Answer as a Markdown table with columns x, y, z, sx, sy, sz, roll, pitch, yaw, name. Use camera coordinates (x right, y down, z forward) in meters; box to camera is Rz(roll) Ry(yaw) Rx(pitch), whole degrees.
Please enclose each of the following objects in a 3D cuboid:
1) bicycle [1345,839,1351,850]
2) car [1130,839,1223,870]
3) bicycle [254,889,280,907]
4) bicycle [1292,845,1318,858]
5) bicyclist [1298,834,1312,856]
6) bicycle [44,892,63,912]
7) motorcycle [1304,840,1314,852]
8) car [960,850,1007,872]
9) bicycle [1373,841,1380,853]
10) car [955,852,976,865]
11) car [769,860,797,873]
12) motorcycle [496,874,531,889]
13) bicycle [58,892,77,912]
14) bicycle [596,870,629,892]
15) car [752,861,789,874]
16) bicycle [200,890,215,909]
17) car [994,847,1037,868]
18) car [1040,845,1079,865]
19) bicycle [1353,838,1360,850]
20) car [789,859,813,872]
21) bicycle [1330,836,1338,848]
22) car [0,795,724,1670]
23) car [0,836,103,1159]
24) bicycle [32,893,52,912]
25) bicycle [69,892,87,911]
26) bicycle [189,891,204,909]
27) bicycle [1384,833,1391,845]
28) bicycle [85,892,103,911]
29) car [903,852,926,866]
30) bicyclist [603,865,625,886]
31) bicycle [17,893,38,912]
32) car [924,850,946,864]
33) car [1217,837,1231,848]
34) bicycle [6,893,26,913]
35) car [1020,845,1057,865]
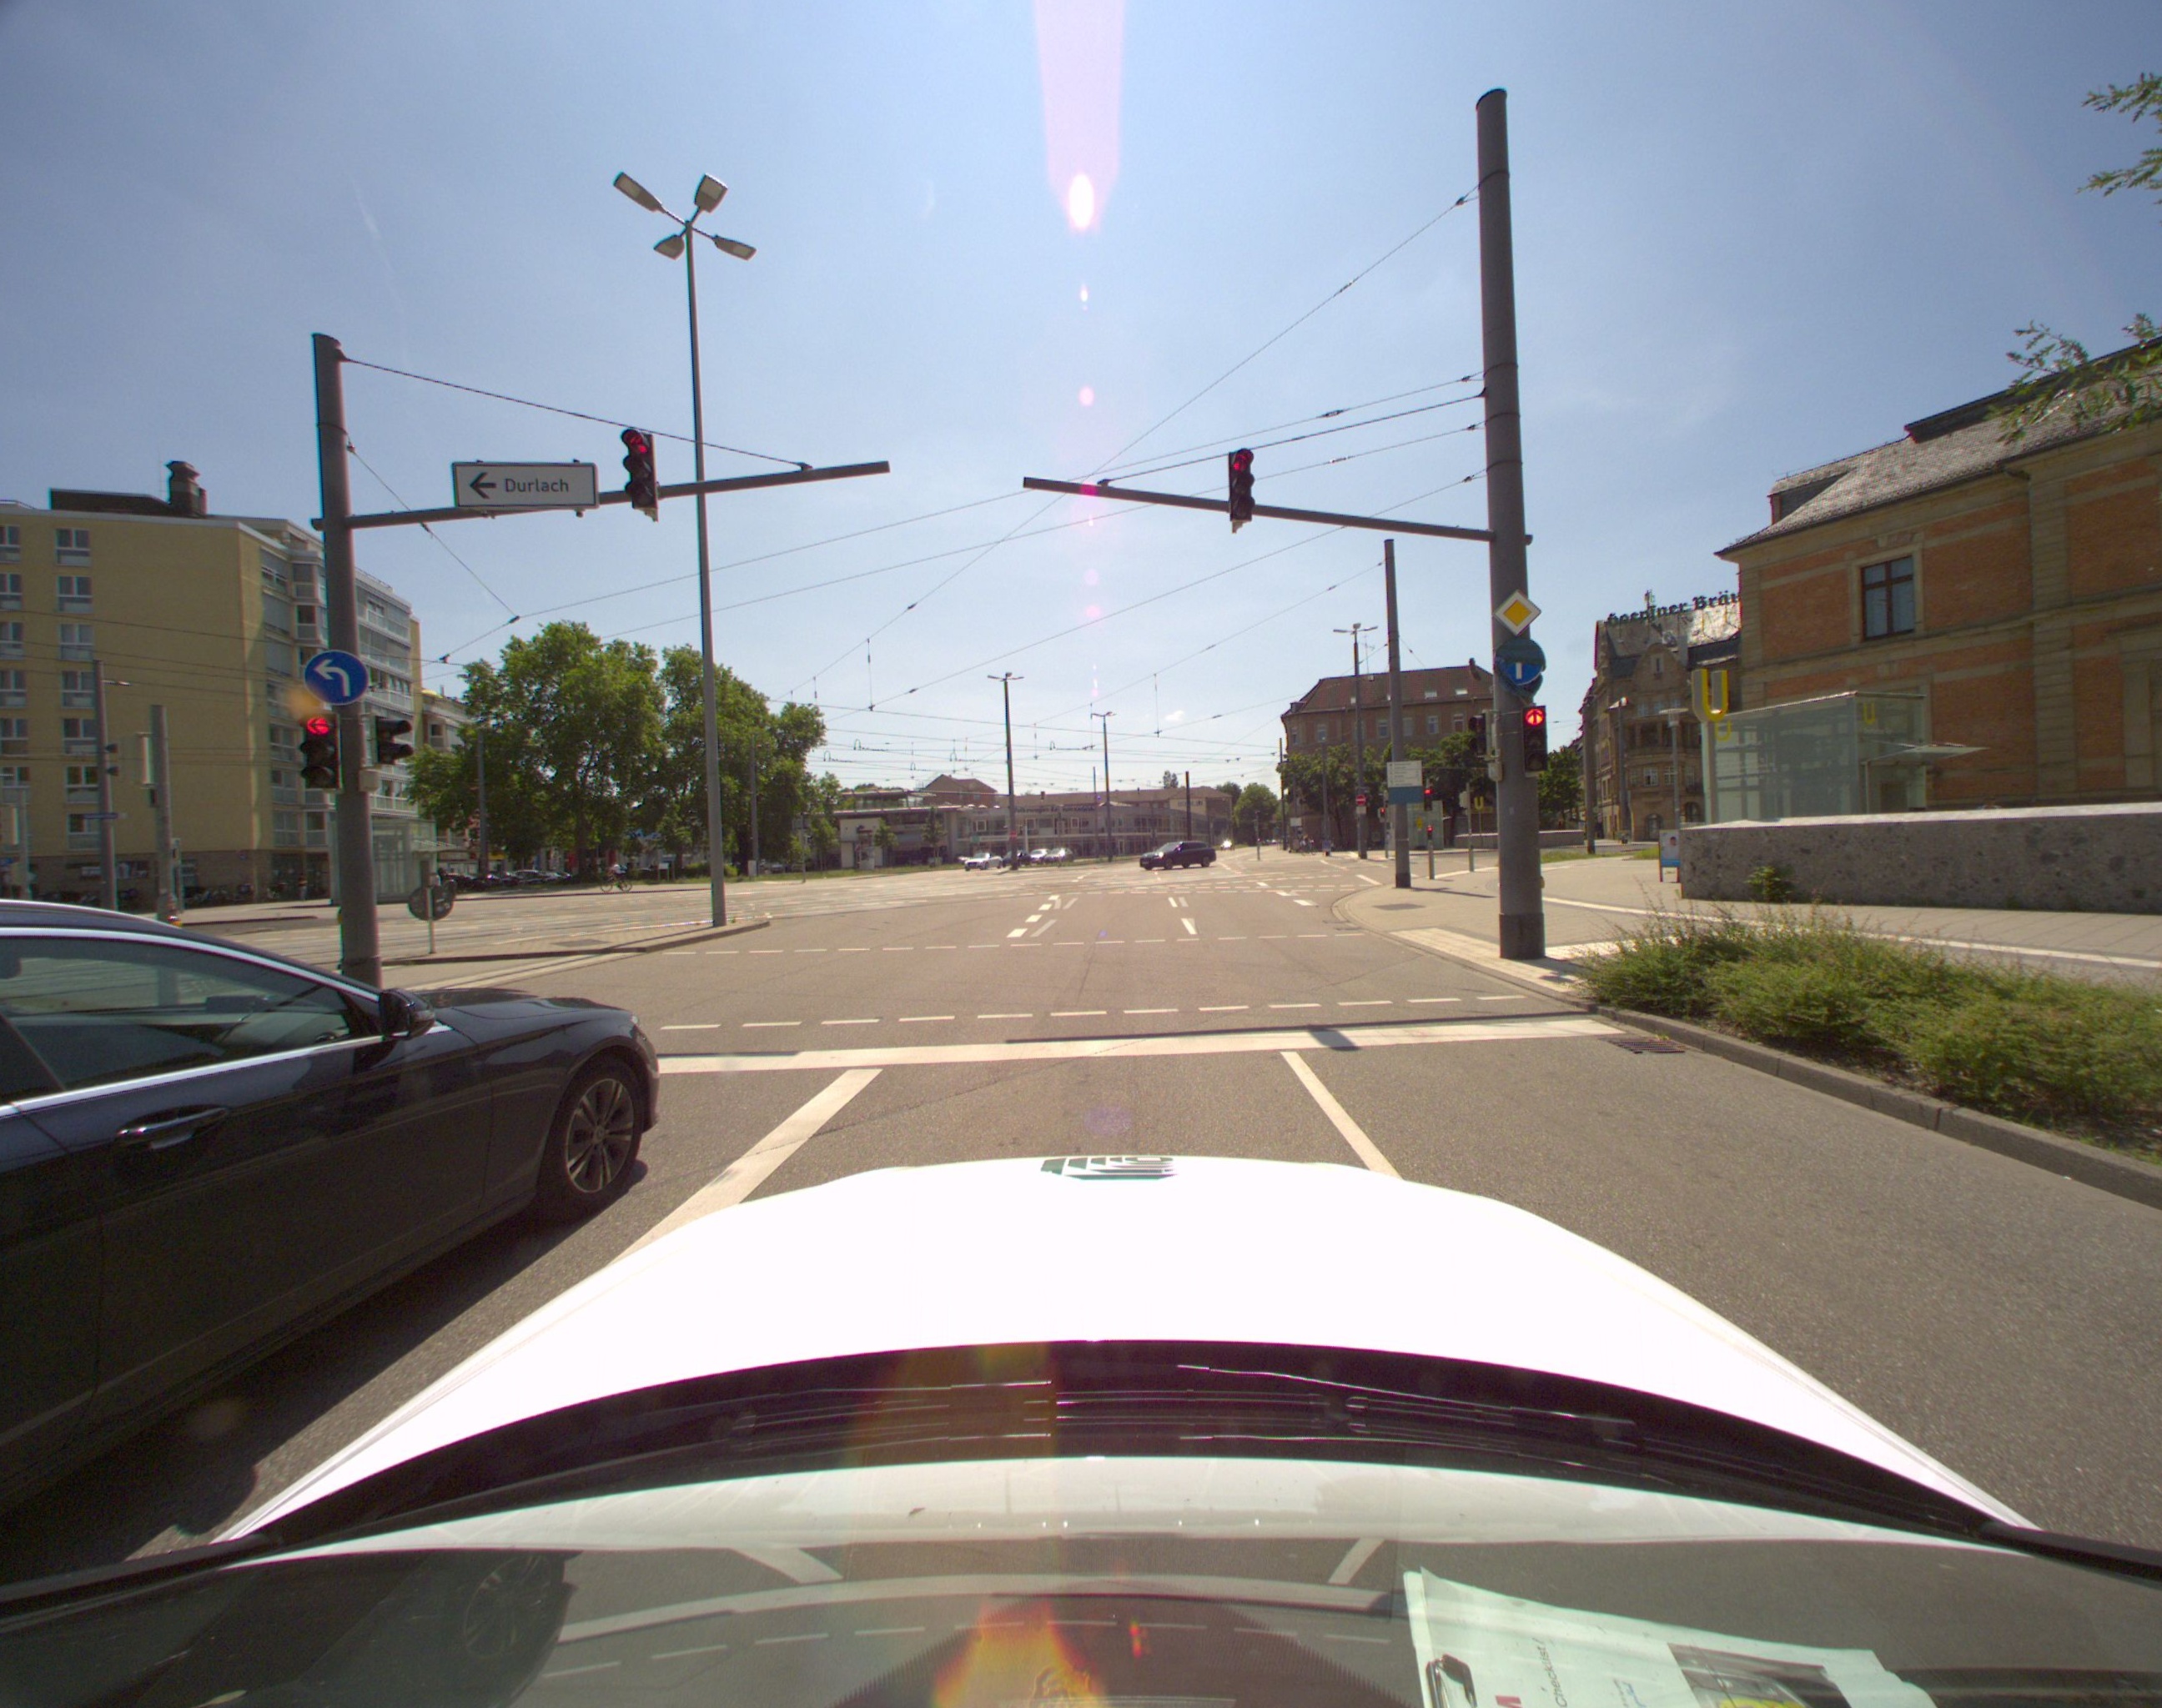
| x | y | z | sx | sy | sz | roll | pitch | yaw | name |
| --- | --- | --- | --- | --- | --- | --- | --- | --- | --- |
| 26.240 | -0.930 | 80.077 | 0.547 | 1.119 | 1.828 | -2 | 0 | 17 | bicycle |
| 5.317 | 0.022 | 45.268 | 4.860 | 1.465 | 1.981 | -2 | 0 | -29 | car |
| -49.587 | 2.668 | 49.628 | 0.432 | 1.026 | 1.437 | -2 | 0 | -14 | bicycle |
| 18.687 | -0.232 | 67.961 | 2.115 | 1.052 | 0.687 | 0 | -1 | -24 | bicycle |
| 18.695 | -0.742 | 67.995 | 1.065 | 1.808 | 0.475 | 0 | -1 | -23 | bicyclist |
| -57.689 | 2.696 | 45.727 | 0.435 | 1.026 | 1.426 | -2 | 0 | -43 | bicycle |
| 22.577 | -0.789 | 80.667 | 0.577 | 1.074 | 1.949 | -2 | 0 | 5 | motorcycle |
| -7.903 | 0.511 | 66.260 | 2.061 | 1.580 | 4.866 | -2 | 0 | 15 | car |
| 29.051 | -0.686 | 80.081 | 0.546 | 1.119 | 1.879 | -2 | 0 | 18 | bicycle |
| -14.491 | 0.567 | 102.463 | 1.913 | 1.707 | 4.002 | 0 | 0 | 2 | car |
| -38.085 | 1.580 | 104.119 | 1.760 | 1.510 | 4.329 | -2 | 0 | 2 | car |
| -39.657 | 1.908 | 56.914 | 1.926 | 0.961 | 0.521 | -2 | 0 | -29 | motorcycle |
| -57.202 | 2.694 | 45.966 | 0.435 | 1.026 | 1.426 | -2 | 0 | -43 | bicycle |
| -27.682 | 1.571 | 48.168 | 1.508 | 1.216 | 0.713 | -2 | 0 | -16 | bicycle |
| -41.753 | 1.799 | 109.603 | 4.344 | 1.510 | 1.754 | -3 | 0 | -34 | car |
| -51.100 | 2.664 | 47.642 | 0.435 | 1.026 | 1.426 | -2 | 0 | -43 | bicycle |
| -5.795 | 0.269 | 72.367 | 1.977 | 1.700 | 4.869 | -2 | 0 | 18 | car |
| -1.917 | 0.035 | 74.728 | 1.977 | 1.637 | 4.869 | -2 | 0 | 18 | car |
| 27.011 | -0.956 | 79.897 | 0.546 | 1.119 | 1.829 | -2 | 0 | 18 | bicycle |
| -35.615 | 1.460 | 103.767 | 1.763 | 1.510 | 4.322 | -2 | 0 | -3 | car |
| 25.134 | -1.181 | 80.957 | 0.440 | 1.146 | 2.098 | 0 | -1 | 8 | bicycle |
| -2.912 | 0.717 | 1.984 | 1.790 | 1.640 | 4.807 | -1 | 0 | 2 | car |
| -6.223 | 0.748 | 2.521 | 1.737 | 1.576 | 3.739 | -2 | 0 | 2 | car |
| -58.143 | 2.698 | 45.565 | 0.435 | 1.026 | 1.426 | -2 | 0 | -43 | bicycle |
| -56.697 | 2.691 | 46.044 | 0.435 | 1.026 | 1.426 | -2 | 0 | -43 | bicycle |
| -51.522 | 2.665 | 47.451 | 0.435 | 1.026 | 1.426 | -2 | 0 | -43 | bicycle |
| 29.992 | -1.480 | 79.731 | 0.546 | 1.120 | 1.938 | -2 | 0 | 18 | bicycle |
| -56.201 | 2.690 | 46.368 | 0.435 | 1.026 | 1.426 | -2 | 0 | -43 | bicycle |
| -20.875 | 0.611 | 102.267 | 1.913 | 1.707 | 4.002 | 0 | 0 | 2 | car |
| -27.621 | 1.267 | 48.182 | 0.927 | 1.142 | 0.713 | -2 | 0 | -16 | bicyclist |
| -58.742 | 2.701 | 45.410 | 0.435 | 1.026 | 1.426 | -2 | 0 | -43 | bicycle |
| -18.333 | 0.396 | 102.308 | 1.913 | 1.707 | 4.002 | 0 | 0 | 2 | car |
| 23.918 | -1.886 | 136.390 | 1.979 | 1.776 | 4.016 | -1 | -1 | 15 | car |
| -59.212 | 2.703 | 45.280 | 0.435 | 1.026 | 1.426 | -2 | 0 | -43 | bicycle |
| -4.036 | 0.046 | 78.283 | 1.977 | 1.739 | 4.565 | -2 | 0 | 18 | car |
